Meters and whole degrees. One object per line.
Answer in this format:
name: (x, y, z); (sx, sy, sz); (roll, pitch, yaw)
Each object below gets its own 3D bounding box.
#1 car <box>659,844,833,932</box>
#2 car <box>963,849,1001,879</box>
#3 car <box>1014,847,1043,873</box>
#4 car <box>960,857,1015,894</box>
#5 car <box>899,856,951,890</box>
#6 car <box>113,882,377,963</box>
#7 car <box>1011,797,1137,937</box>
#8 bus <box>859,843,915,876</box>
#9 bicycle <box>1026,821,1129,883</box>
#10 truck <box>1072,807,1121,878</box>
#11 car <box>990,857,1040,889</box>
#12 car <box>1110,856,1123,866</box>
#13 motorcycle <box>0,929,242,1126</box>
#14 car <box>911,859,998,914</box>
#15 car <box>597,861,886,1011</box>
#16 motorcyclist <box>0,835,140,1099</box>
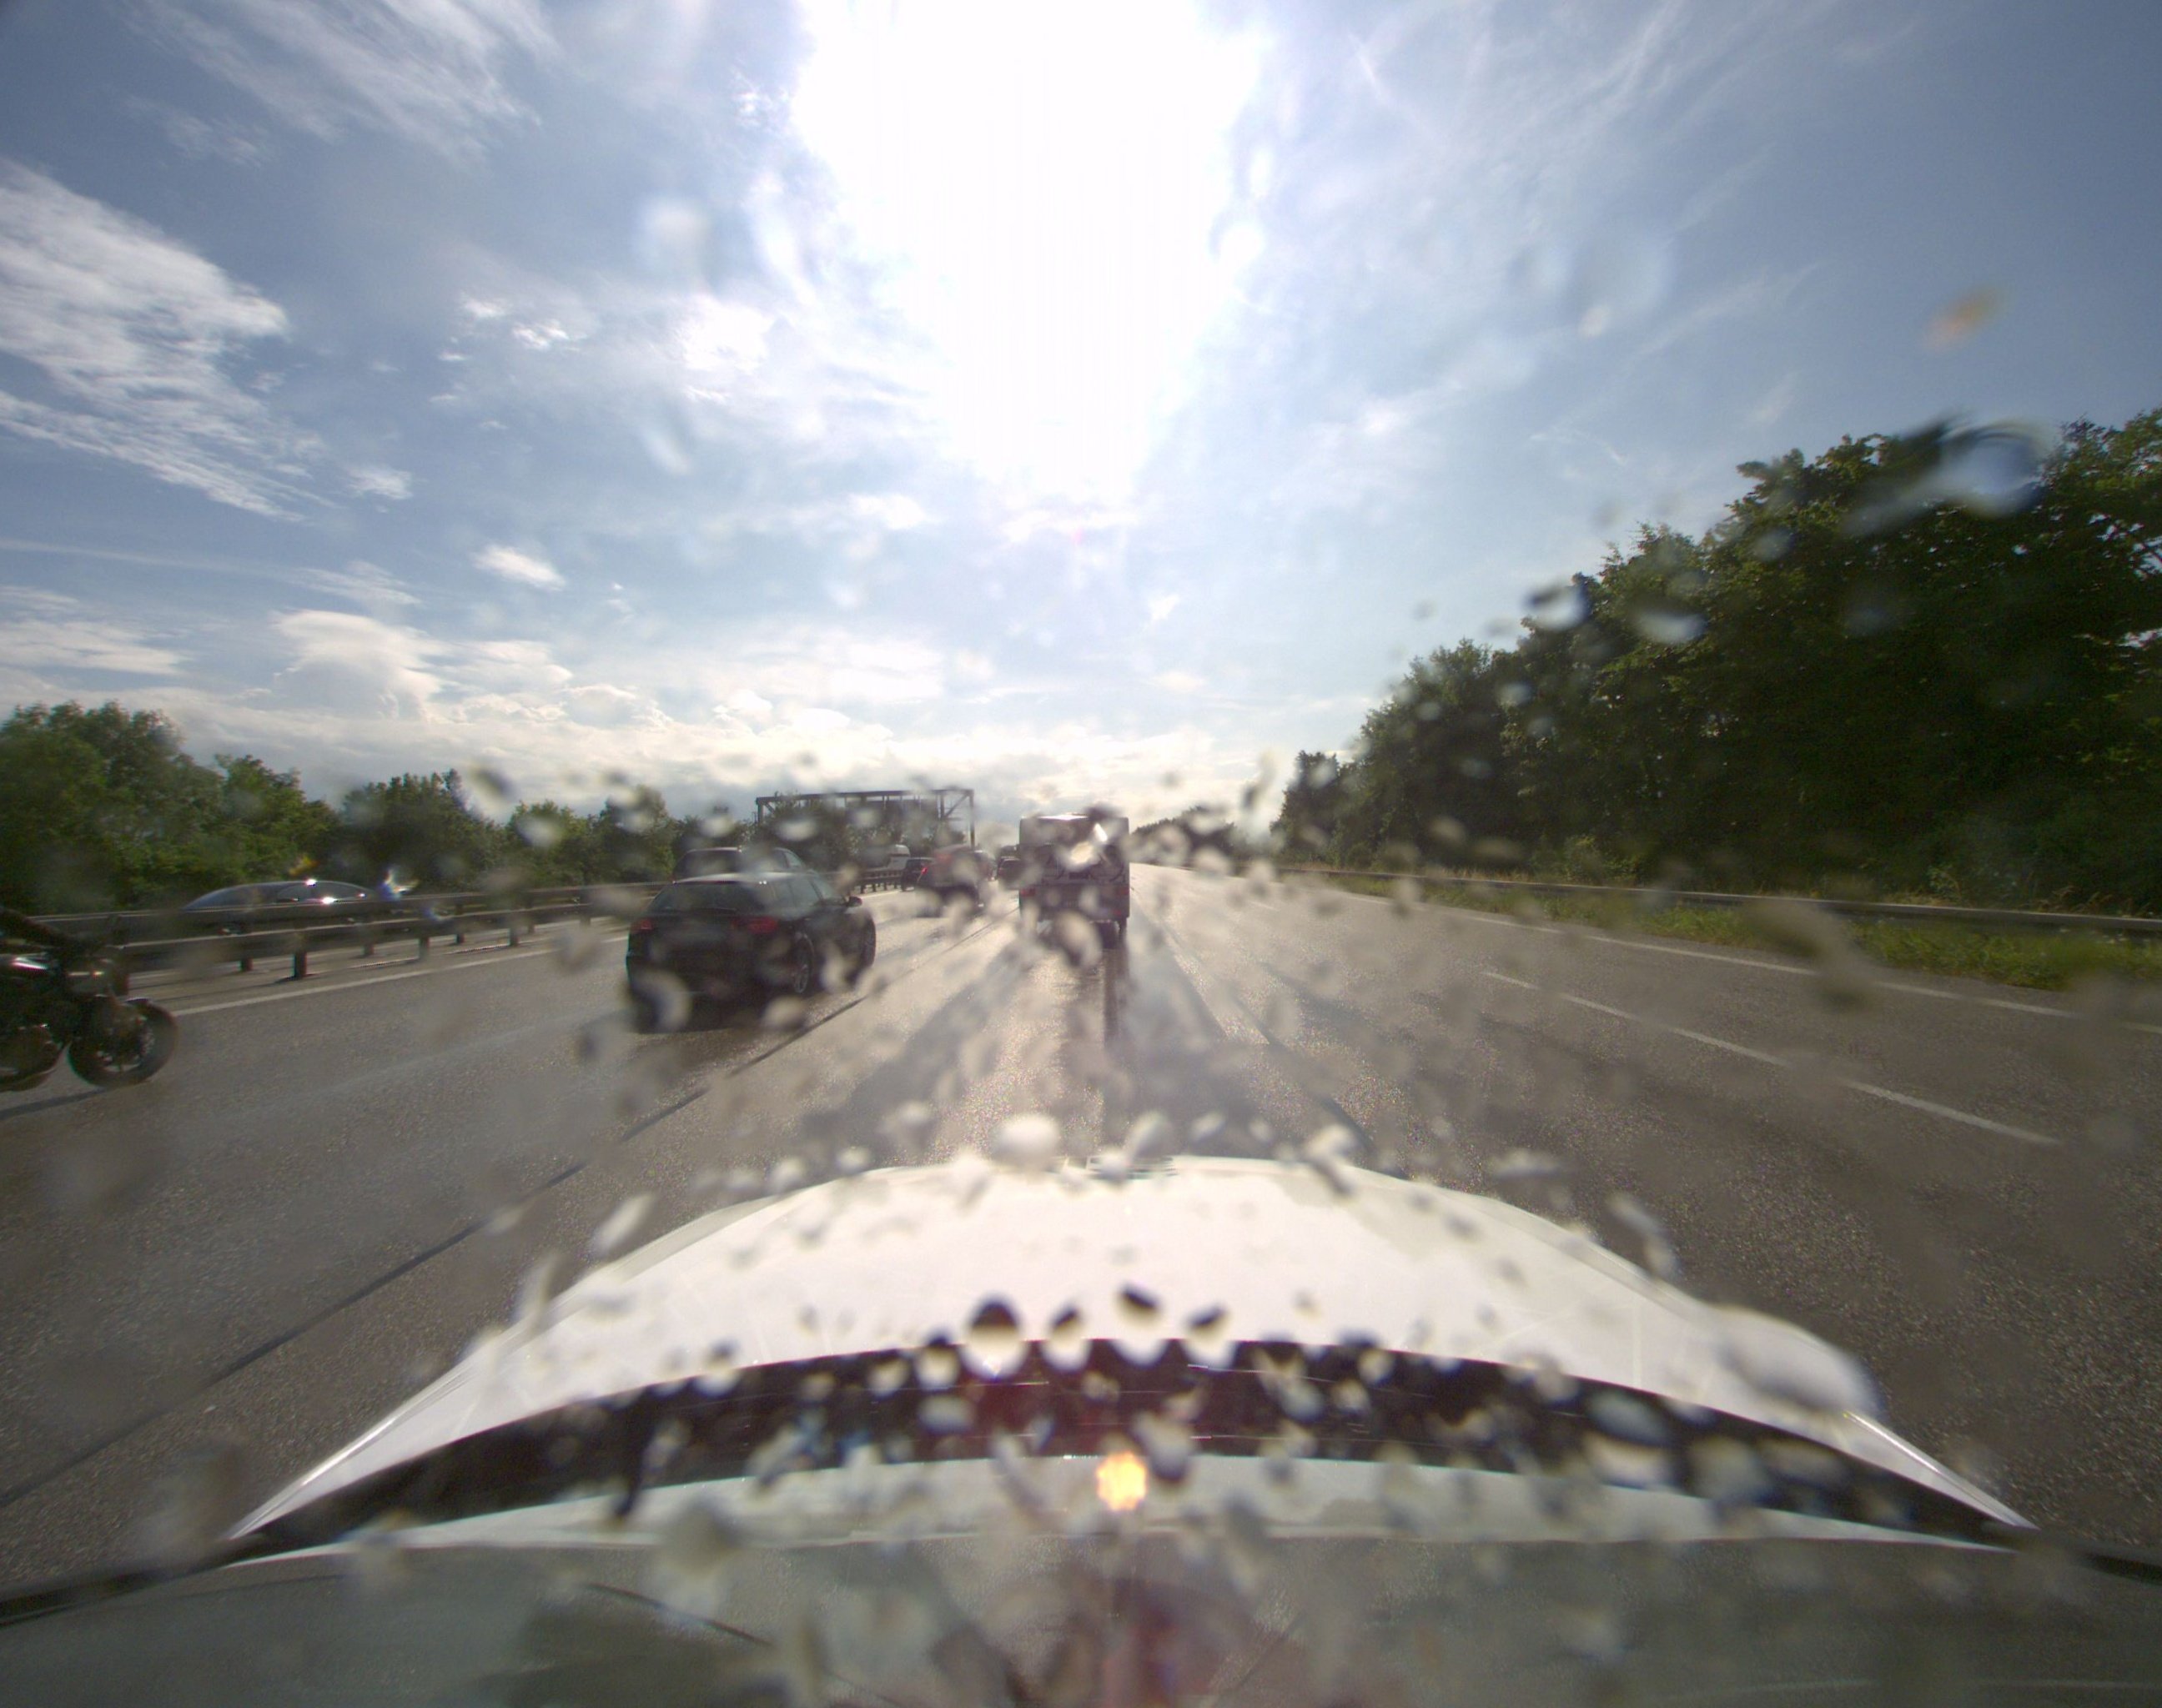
car: (-7.909, 0.724, 19.938); (1.799, 1.844, 5.421); (-1, 0, 2)
car: (-6.682, 0.681, 55.600); (1.841, 1.934, 5.017); (-1, 0, 1)
car: (-3.556, 0.397, 55.798); (1.683, 1.662, 3.641); (-1, 0, 1)
car: (-3.986, 0.886, 35.254); (1.856, 1.508, 4.000); (-1, 0, 1)
car: (-7.687, 0.924, 40.436); (1.777, 1.578, 3.916); (-1, 0, 0)
car: (-15.909, 1.238, 15.763); (1.505, 1.266, 3.409); (-1, 0, 2)
car: (-0.050, 0.263, 17.616); (2.401, 2.674, 4.002); (-1, -1, 2)
bus: (-21.316, 0.605, 90.390); (2.880, 3.374, 12.476); (-1, 0, 2)
bicycle: (-0.062, -0.033, 15.420); (1.926, 1.141, 0.384); (-1, -1, 2)
truck: (1.065, -0.724, 58.540); (3.135, 4.626, 10.736); (-1, 0, 1)
car: (-3.239, 0.903, 40.607); (1.979, 1.458, 3.829); (-1, 0, 2)
car: (5.846, 1.096, 133.103); (1.831, 1.558, 3.997); (0, 0, -2)
motorcycle: (-6.673, 1.081, 4.918); (0.688, 1.027, 2.389); (-1, 0, 1)
car: (-3.613, 0.884, 23.993); (1.751, 1.443, 4.002); (-1, 0, 2)
car: (-3.849, 0.833, 10.100); (1.743, 1.433, 4.056); (-1, 0, 2)
motorcyclist: (-6.690, 0.663, 4.887); (0.793, 1.537, 1.093); (-1, 0, 1)
